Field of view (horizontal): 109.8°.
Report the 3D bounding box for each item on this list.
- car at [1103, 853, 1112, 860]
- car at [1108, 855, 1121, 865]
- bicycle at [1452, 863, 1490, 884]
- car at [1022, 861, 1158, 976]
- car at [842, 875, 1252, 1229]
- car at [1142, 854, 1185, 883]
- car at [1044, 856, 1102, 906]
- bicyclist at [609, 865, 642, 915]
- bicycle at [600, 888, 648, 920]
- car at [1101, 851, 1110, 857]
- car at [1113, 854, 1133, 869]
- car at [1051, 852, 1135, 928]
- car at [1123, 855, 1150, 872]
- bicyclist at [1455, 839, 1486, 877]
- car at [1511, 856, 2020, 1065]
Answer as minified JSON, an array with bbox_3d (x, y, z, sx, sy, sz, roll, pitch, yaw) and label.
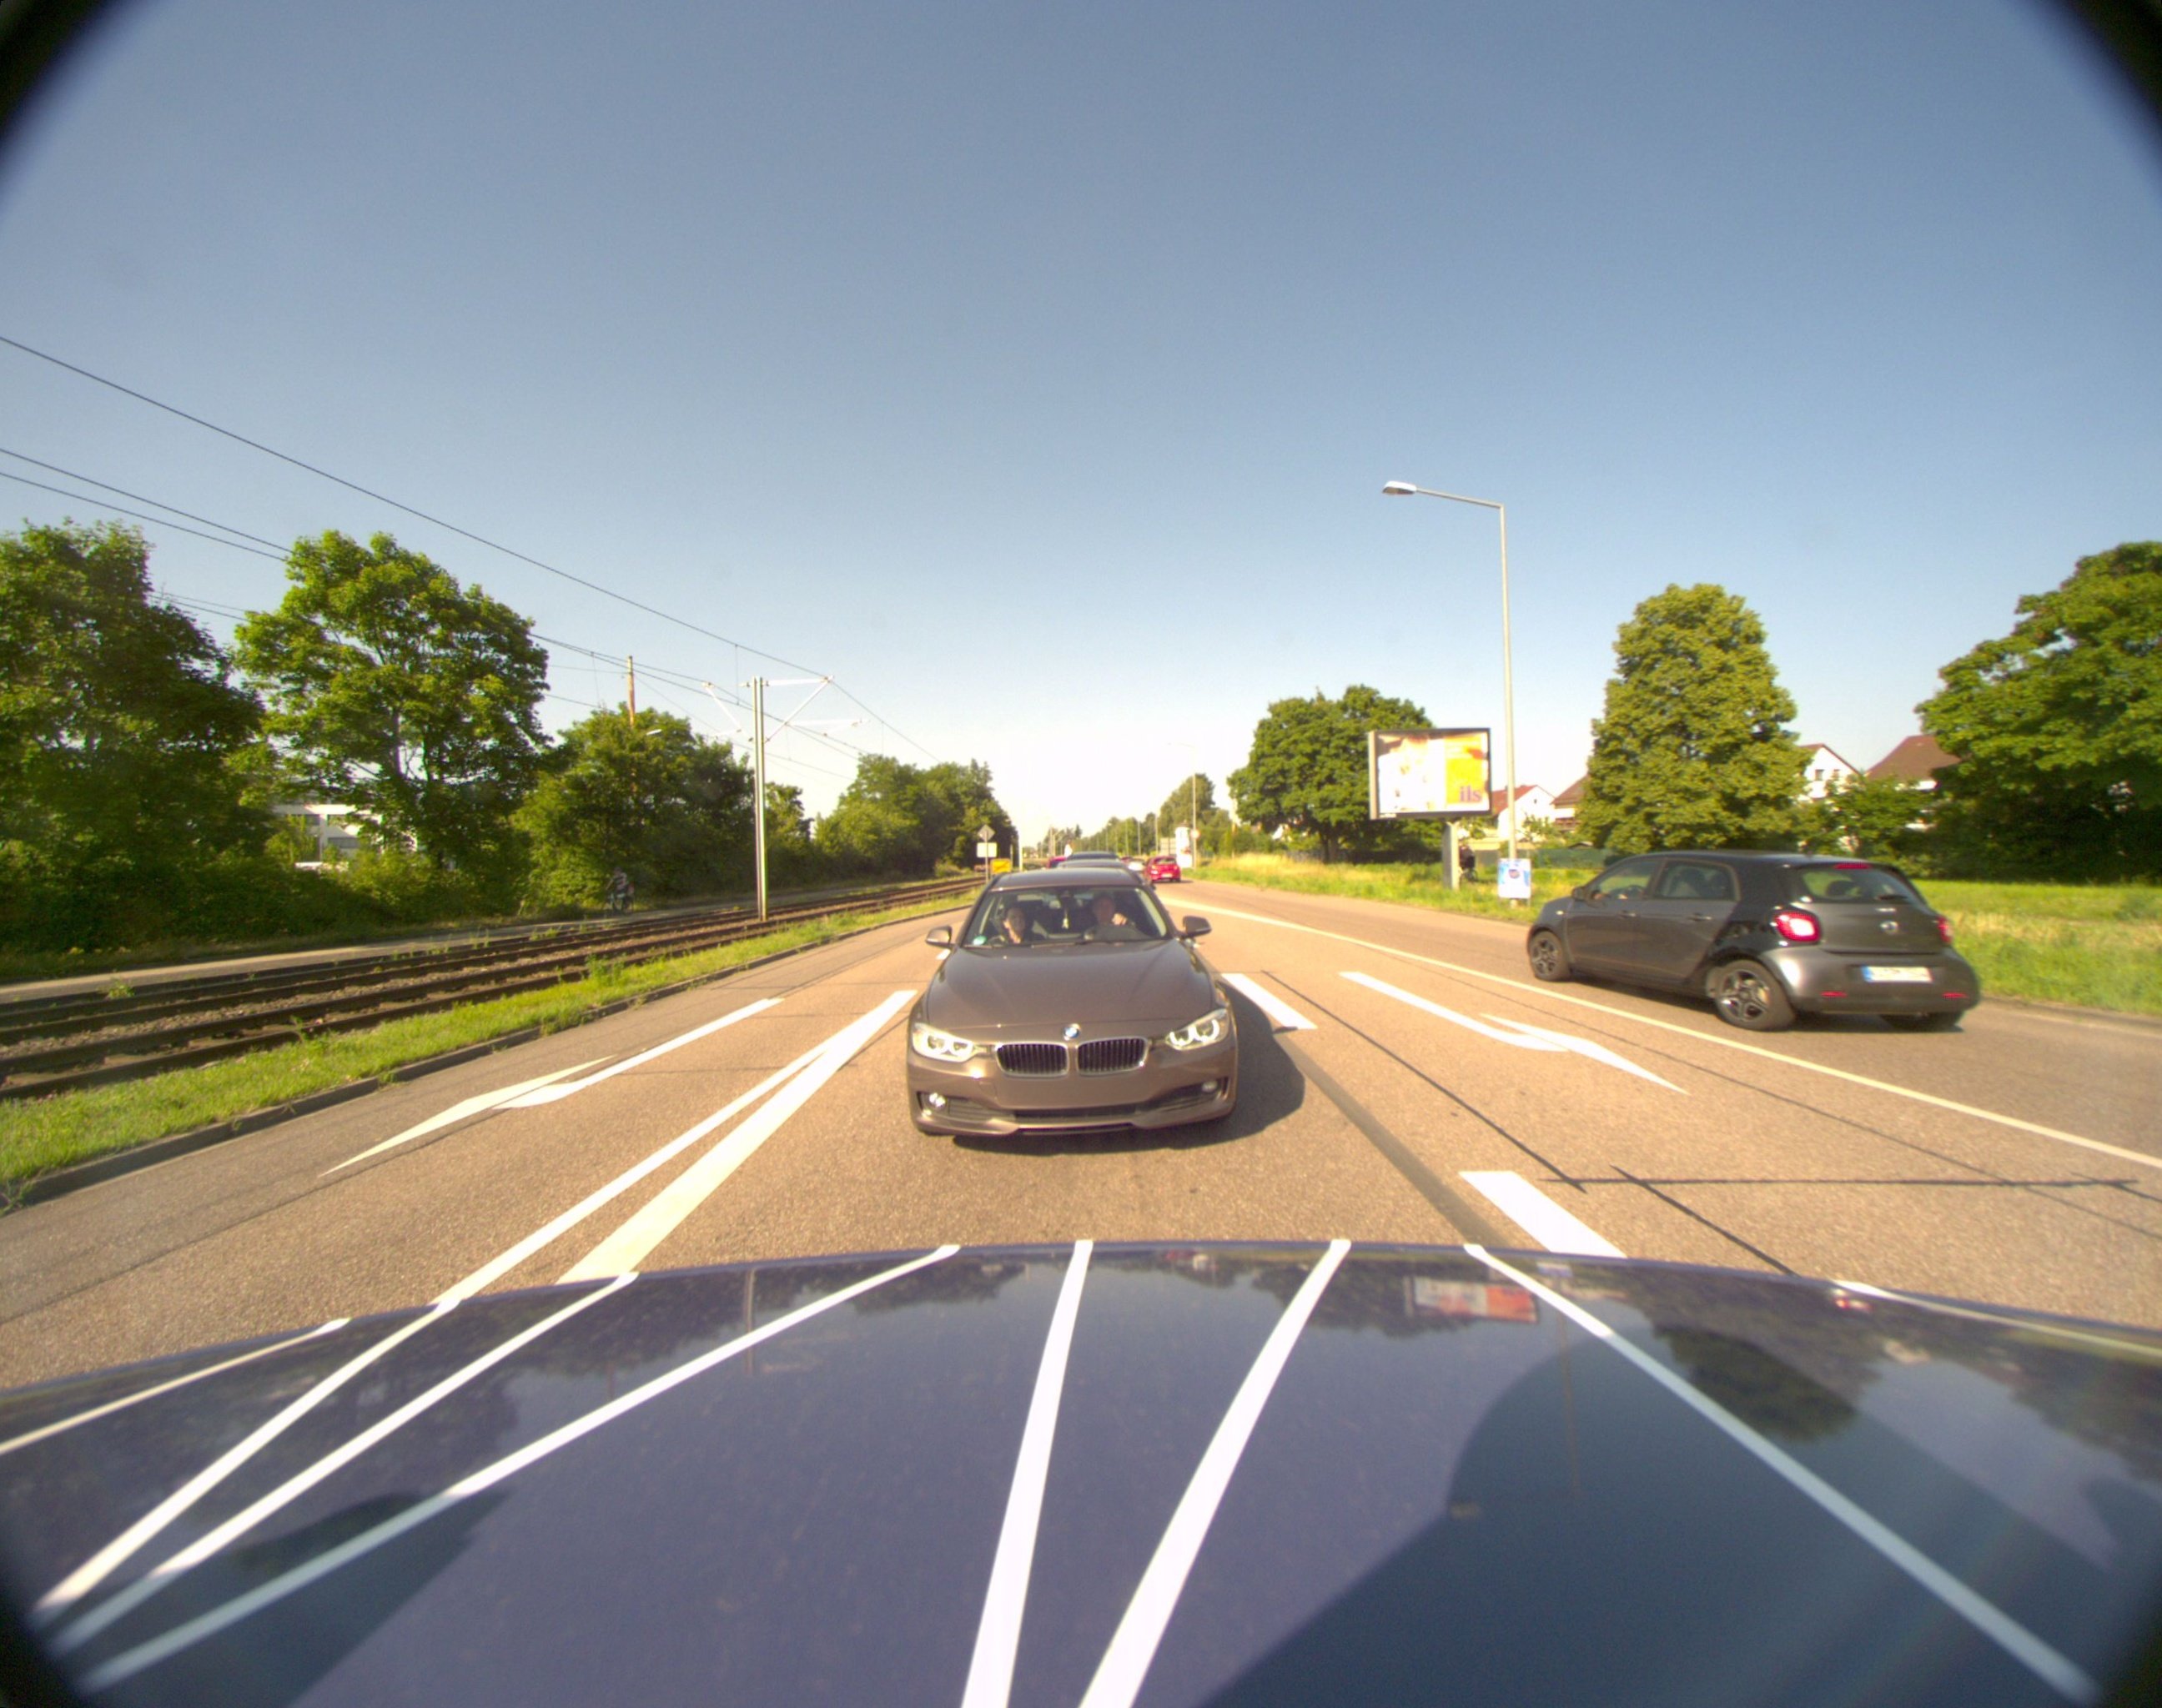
[{"bbox_3d":[5.646,0.478,161.478,1.784,1.469,4.287,-1,0,2],"label":"car"},{"bbox_3d":[5.646,1.006,129.333,1.784,1.469,4.285,-1,0,-4],"label":"car"},{"bbox_3d":[15.165,0.754,29.591,0.455,0.749,1.834,-1,0,-2],"label":"bicycle"},{"bbox_3d":[0.144,0.901,12.642,1.821,1.481,4.611,-1,0,0],"label":"car"},{"bbox_3d":[-0.128,0.975,5.717,1.821,1.416,4.461,-2,0,1],"label":"car"},{"bbox_3d":[4.407,0.747,41.062,1.699,1.489,3.674,0,0,-4],"label":"car"},{"bbox_3d":[-0.239,0.853,25.977,1.807,1.498,4.197,-1,0,0],"label":"car"},{"bbox_3d":[-16.897,1.337,28.182,0.708,1.797,0.718,-1,1,3],"label":"bicyclist"},{"bbox_3d":[-16.891,1.835,28.141,0.547,1.041,1.874,-1,0,3],"label":"bicycle"},{"bbox_3d":[6.057,0.000,188.275,1.784,1.469,4.285,-1,0,-3],"label":"car"},{"bbox_3d":[4.332,0.746,78.511,1.784,1.469,3.914,-1,0,0],"label":"car"},{"bbox_3d":[0.292,0.801,19.370,1.821,1.641,4.611,-2,0,0],"label":"car"},{"bbox_3d":[4.487,0.763,61.994,1.784,1.302,4.286,-1,0,-1],"label":"car"},{"bbox_3d":[15.181,0.158,29.618,0.638,1.420,1.071,-1,1,-2],"label":"bicyclist"},{"bbox_3d":[6.235,0.812,7.587,1.638,1.551,3.675,0,0,-3],"label":"car"}]
